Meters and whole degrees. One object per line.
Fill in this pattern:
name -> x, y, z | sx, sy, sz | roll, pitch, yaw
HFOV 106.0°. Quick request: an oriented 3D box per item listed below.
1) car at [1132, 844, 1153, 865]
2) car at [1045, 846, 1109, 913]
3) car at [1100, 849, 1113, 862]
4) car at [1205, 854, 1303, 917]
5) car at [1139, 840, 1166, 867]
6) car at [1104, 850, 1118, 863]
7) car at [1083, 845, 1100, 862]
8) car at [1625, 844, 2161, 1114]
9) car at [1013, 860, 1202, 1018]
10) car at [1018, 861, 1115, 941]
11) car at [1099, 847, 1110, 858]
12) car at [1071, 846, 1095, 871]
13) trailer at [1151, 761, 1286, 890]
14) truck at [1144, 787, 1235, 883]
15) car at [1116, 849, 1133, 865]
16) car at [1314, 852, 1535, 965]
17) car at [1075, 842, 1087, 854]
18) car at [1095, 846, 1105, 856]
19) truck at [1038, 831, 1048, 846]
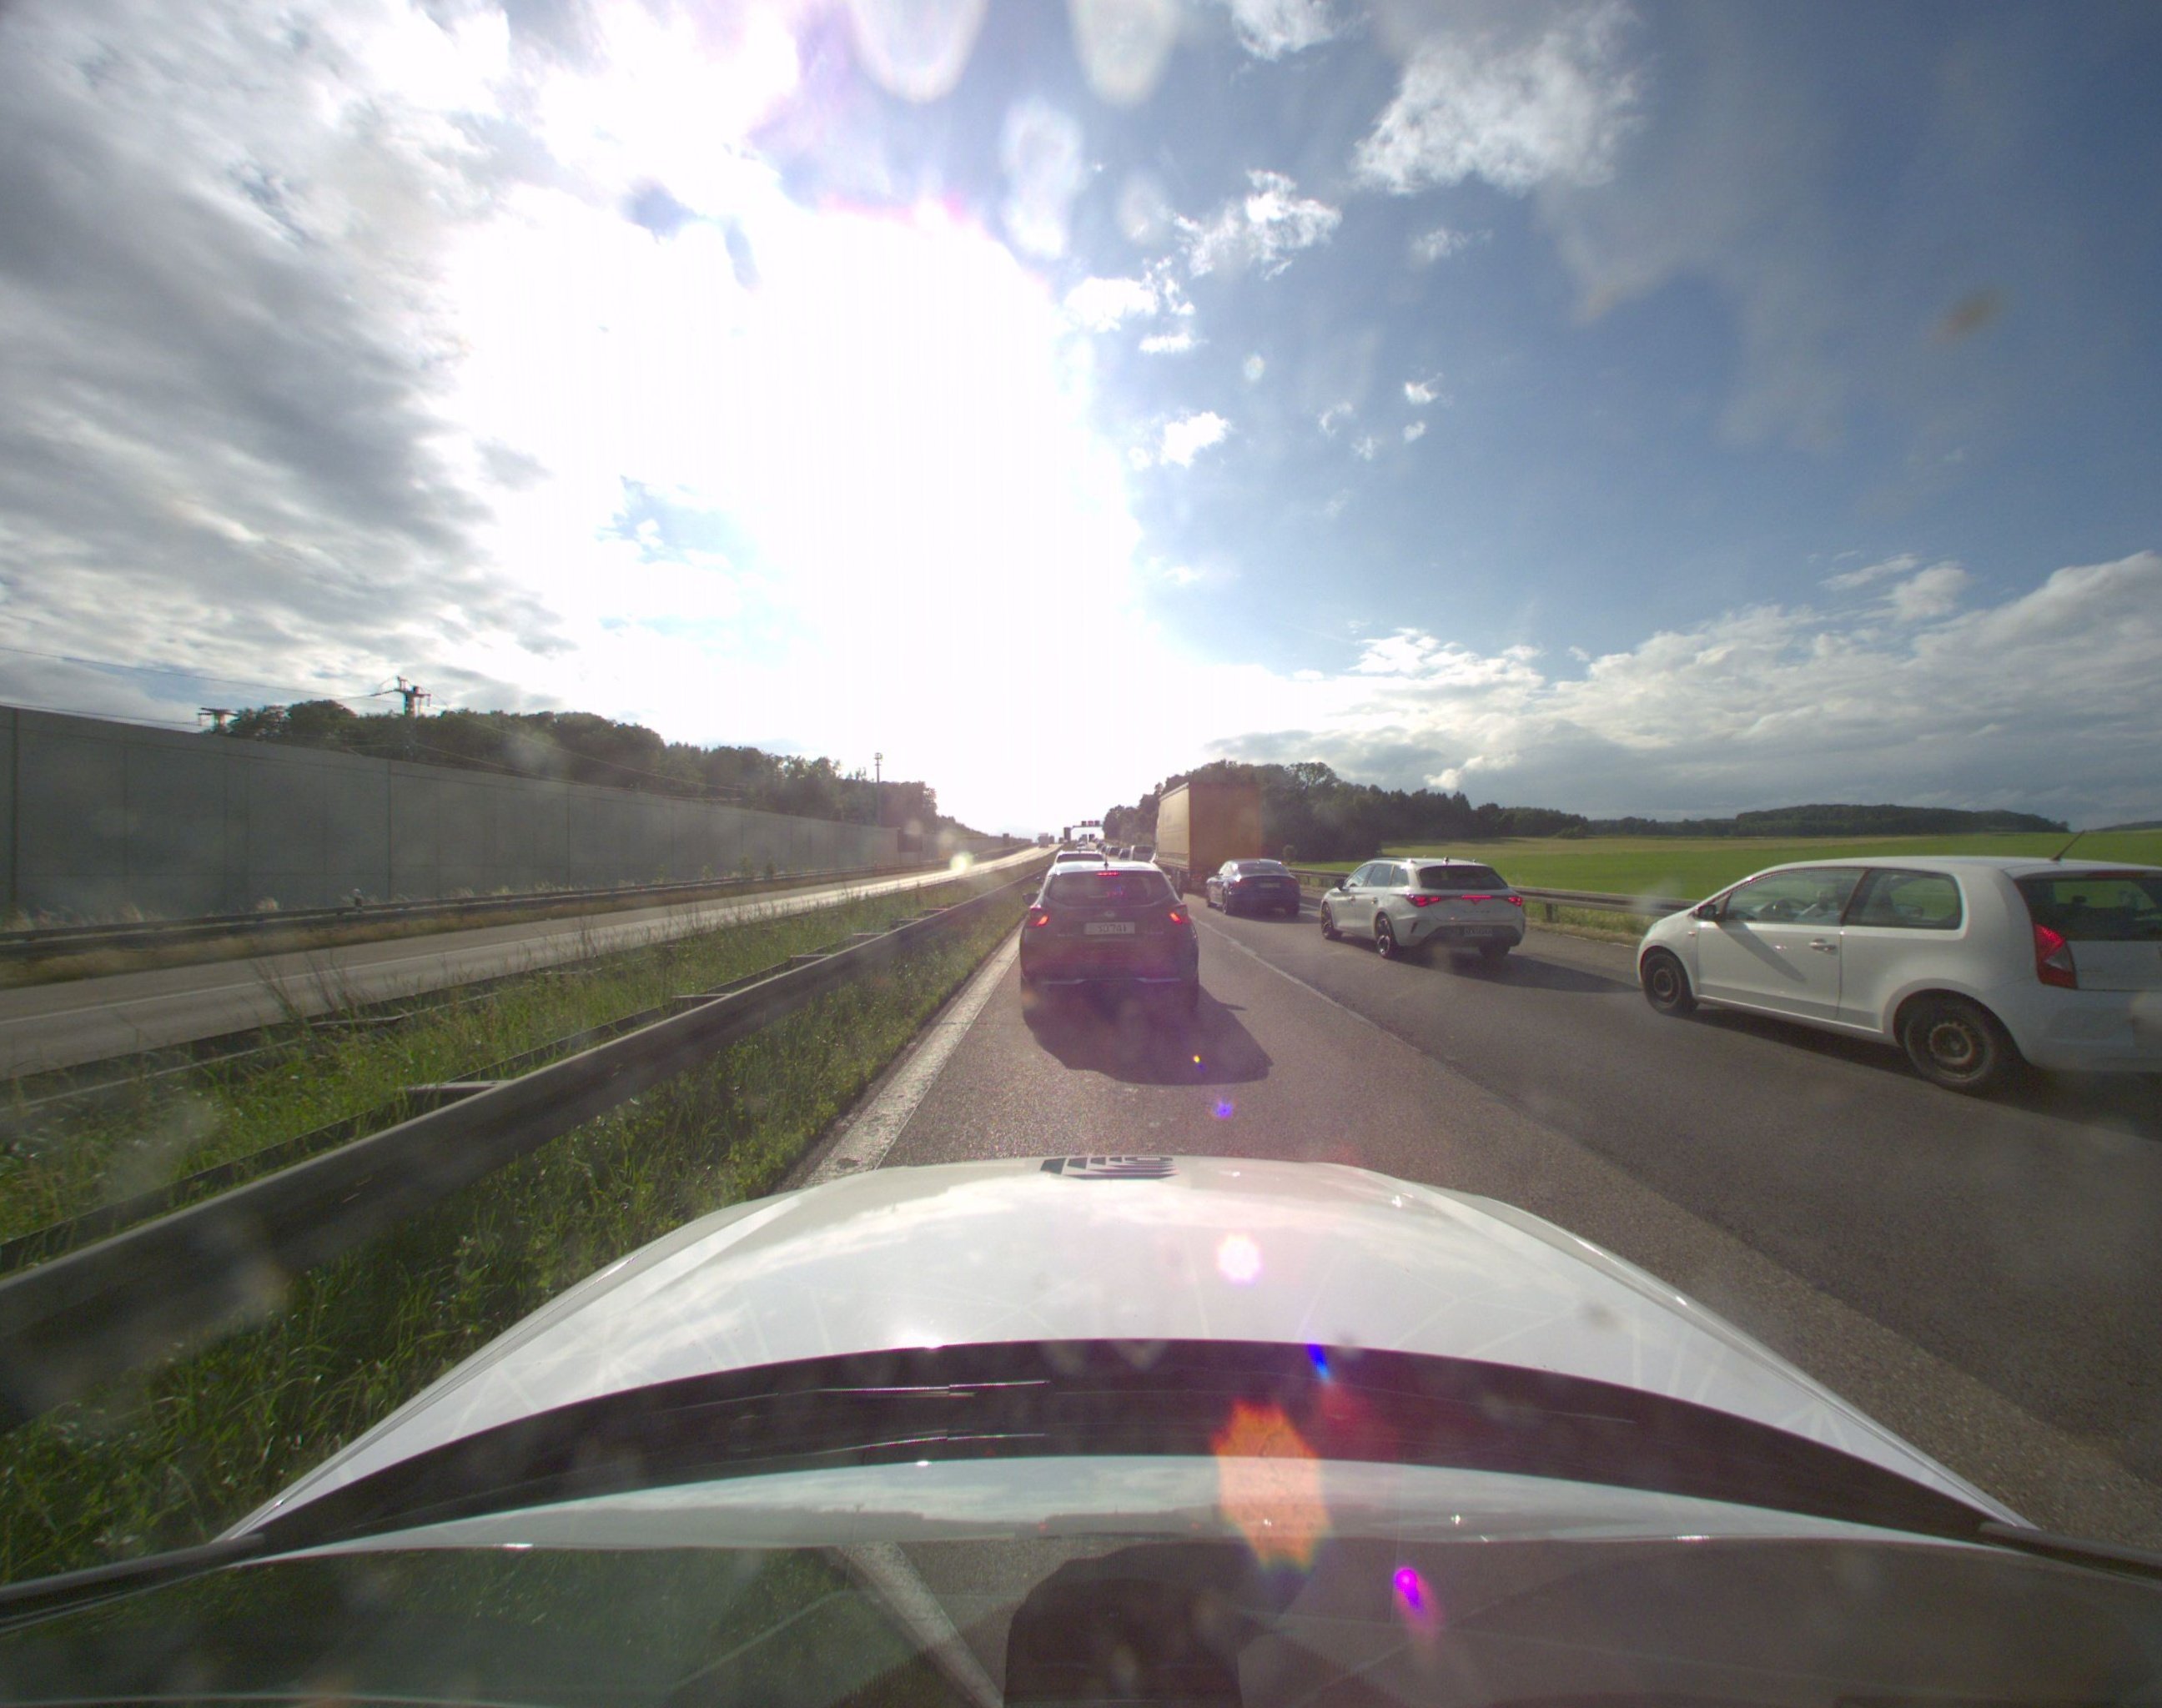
car -> 5.276, 0.085, 69.767 | 1.661, 1.755, 3.328 | 0, -1, 2
car -> -0.069, 0.679, 23.071 | 1.668, 1.726, 3.597 | -1, -1, 1
car -> 4.247, 0.252, 136.258 | 1.987, 2.014, 3.998 | 0, -1, -1
car -> 4.395, 0.763, 21.241 | 1.741, 1.475, 4.147 | -1, -1, 1
car -> 4.834, -0.028, 55.449 | 1.661, 1.755, 3.328 | 0, -1, 2
car -> 4.705, 0.360, 128.324 | 1.987, 2.014, 3.998 | 0, -1, -1
car -> 1.323, -0.018, 100.209 | 1.987, 2.014, 3.998 | 0, -1, -1
car -> 6.092, 0.683, 6.251 | 1.544, 1.495, 3.376 | -1, 0, -1
car -> 0.295, 0.793, 9.116 | 1.703, 1.426, 3.379 | -1, -1, 2
car -> -0.213, 0.833, 15.967 | 1.668, 1.367, 3.597 | -1, -1, 1
car -> 4.365, -0.269, 151.642 | 1.987, 2.014, 3.998 | 0, -1, -1
car -> 0.160, 0.371, 68.983 | 1.987, 2.014, 3.998 | 0, -1, -1
trailer -> 5.293, -0.941, 34.510 | 3.538, 4.457, 12.718 | 0, -1, 0
truck -> 5.247, -0.846, 40.621 | 3.571, 4.380, 6.686 | 0, -1, -1
car -> 5.831, 0.419, 109.734 | 1.987, 2.014, 3.998 | 0, -1, -1
car -> 5.071, 0.727, 12.670 | 1.616, 1.445, 4.144 | -1, -1, -1
car -> 0.037, -0.969, 142.771 | 1.987, 2.014, 3.998 | 0, -1, -1
car -> 4.223, -0.687, 181.511 | 1.987, 2.014, 3.998 | 0, -1, -1
truck -> -10.748, -4.486, 231.556 | 2.629, 4.098, 7.000 | 0, -1, 0
